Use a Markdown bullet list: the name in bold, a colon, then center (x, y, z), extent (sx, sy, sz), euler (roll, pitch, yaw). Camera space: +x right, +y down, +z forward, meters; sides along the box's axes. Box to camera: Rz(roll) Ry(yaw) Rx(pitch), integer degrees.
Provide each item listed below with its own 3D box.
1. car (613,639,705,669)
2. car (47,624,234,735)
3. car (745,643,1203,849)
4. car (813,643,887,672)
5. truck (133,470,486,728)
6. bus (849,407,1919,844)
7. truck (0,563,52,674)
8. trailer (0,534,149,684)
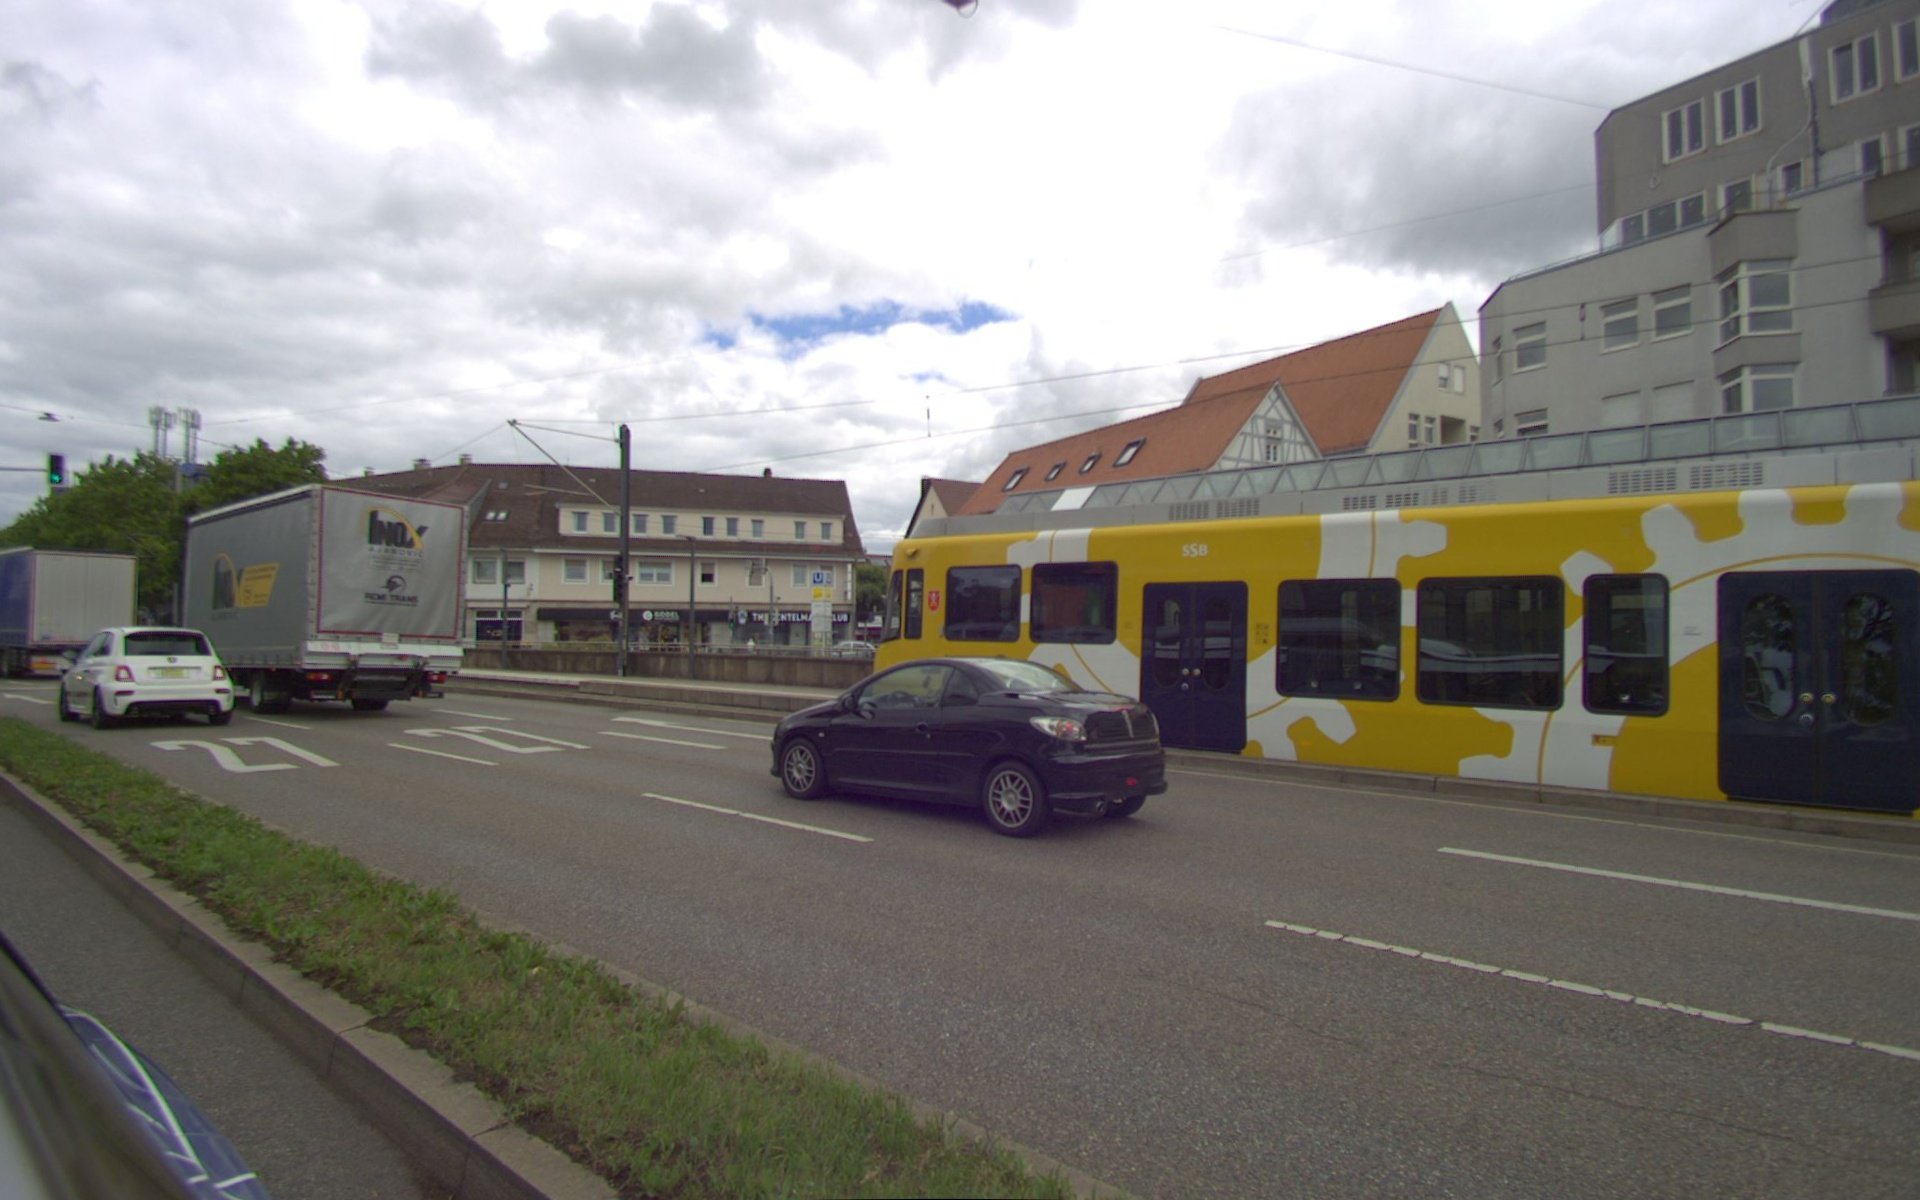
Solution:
- **car**: center (-15.898, 2.855, 53.503), extent (4.290, 1.528, 1.797), euler (2, -3, -33)
- **car**: center (-12.784, 1.142, 15.729), extent (3.715, 1.514, 1.572), euler (-1, -2, 40)
- **car**: center (-0.034, 1.101, 8.805), extent (3.947, 1.355, 1.490), euler (-1, -5, 41)
- **car**: center (-6.502, 3.362, 59.810), extent (4.003, 1.664, 2.006), euler (1, -3, -19)
- **truck**: center (-12.935, 0.108, 19.675), extent (9.152, 3.988, 2.910), euler (-1, -3, 38)
- **bus**: center (6.861, 0.331, 12.774), extent (19.316, 3.889, 3.839), euler (-1, -3, 38)
- **truck**: center (-37.813, 0.763, 38.930), extent (6.144, 4.053, 3.063), euler (-2, -3, 37)
- **trailer**: center (-32.145, 0.510, 34.691), extent (14.818, 4.302, 3.074), euler (-2, -3, 37)
